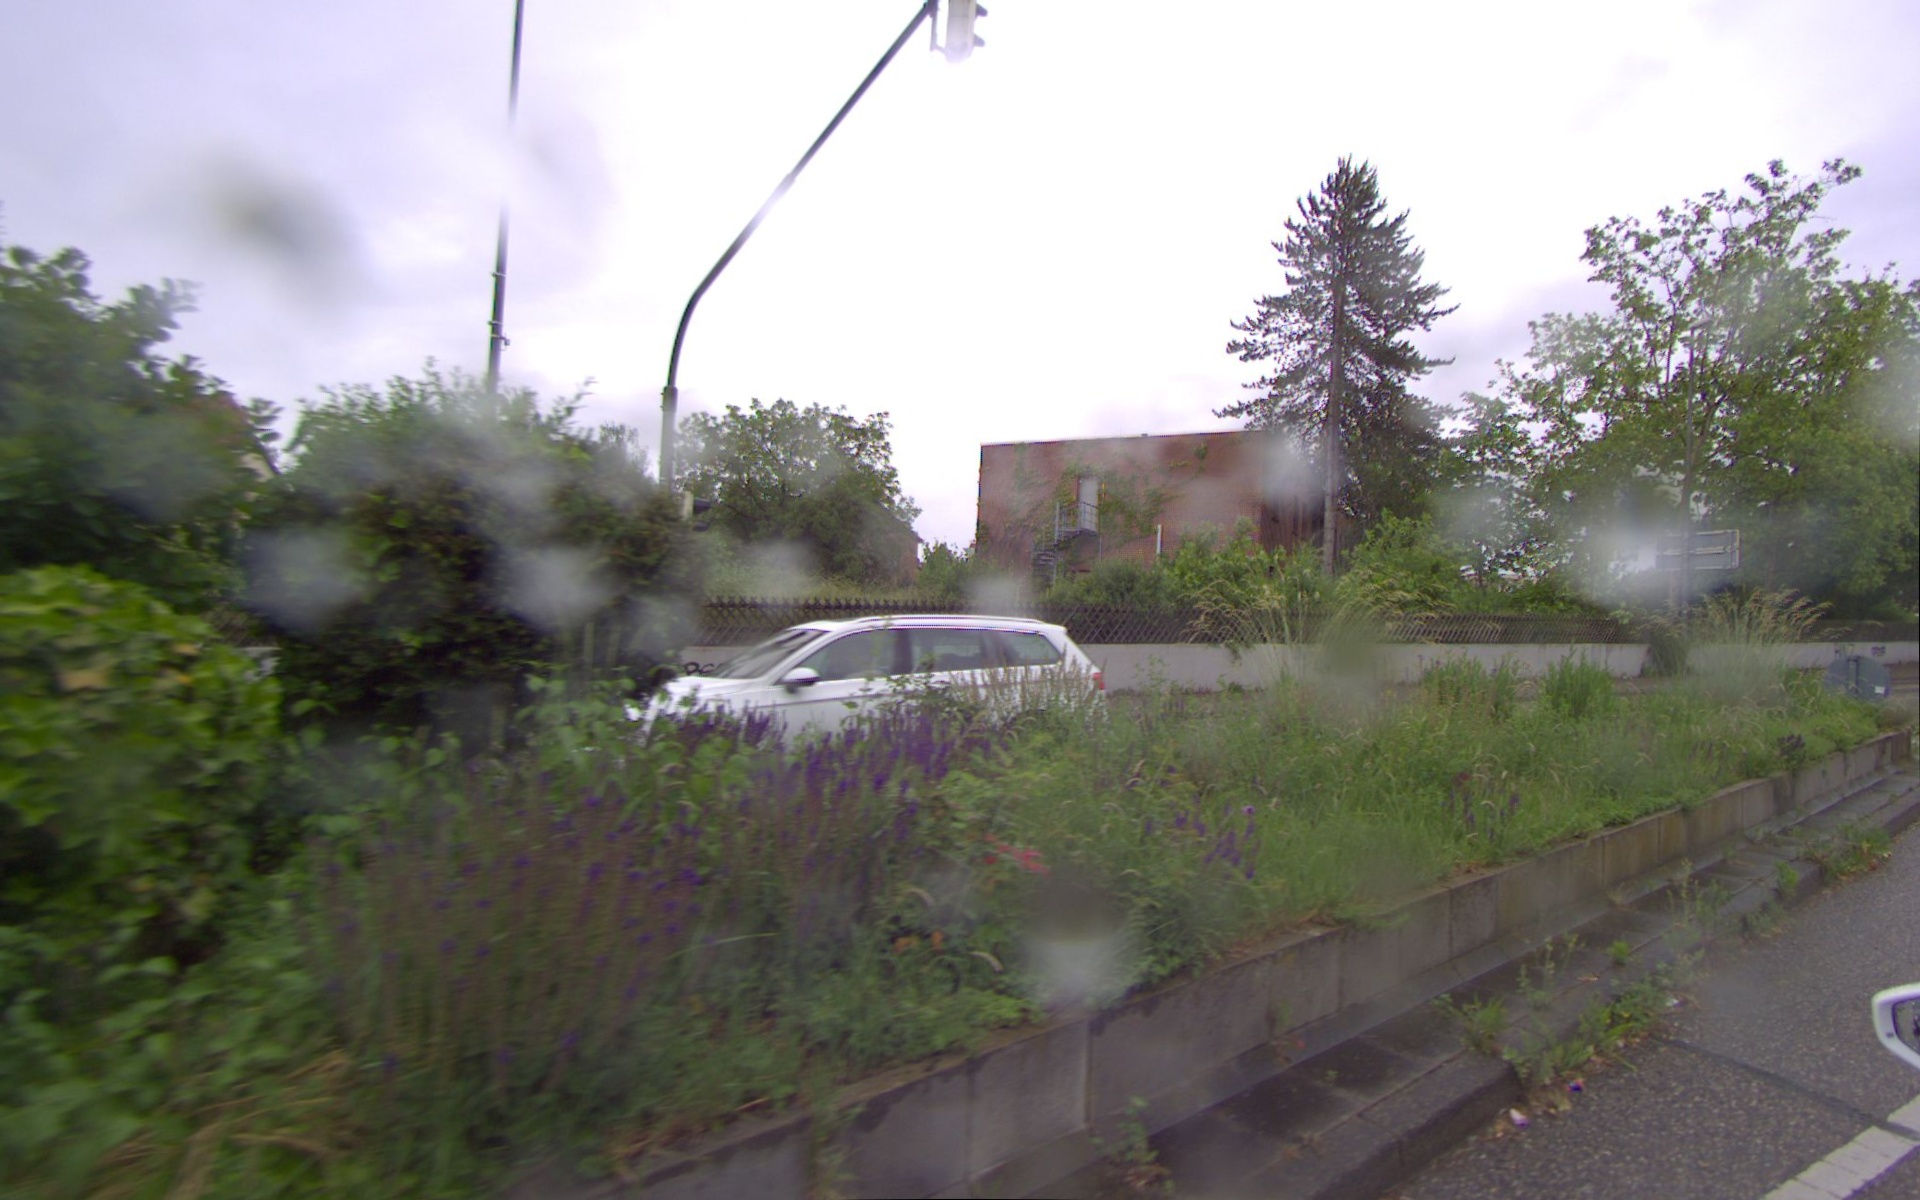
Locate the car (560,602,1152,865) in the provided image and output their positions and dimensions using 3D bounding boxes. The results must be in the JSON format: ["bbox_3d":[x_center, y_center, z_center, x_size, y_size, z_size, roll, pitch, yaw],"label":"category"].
[{"bbox_3d":[-0.798,0.941,8.444,4.542,1.684,1.985,2,-2,-29],"label":"car"}]
